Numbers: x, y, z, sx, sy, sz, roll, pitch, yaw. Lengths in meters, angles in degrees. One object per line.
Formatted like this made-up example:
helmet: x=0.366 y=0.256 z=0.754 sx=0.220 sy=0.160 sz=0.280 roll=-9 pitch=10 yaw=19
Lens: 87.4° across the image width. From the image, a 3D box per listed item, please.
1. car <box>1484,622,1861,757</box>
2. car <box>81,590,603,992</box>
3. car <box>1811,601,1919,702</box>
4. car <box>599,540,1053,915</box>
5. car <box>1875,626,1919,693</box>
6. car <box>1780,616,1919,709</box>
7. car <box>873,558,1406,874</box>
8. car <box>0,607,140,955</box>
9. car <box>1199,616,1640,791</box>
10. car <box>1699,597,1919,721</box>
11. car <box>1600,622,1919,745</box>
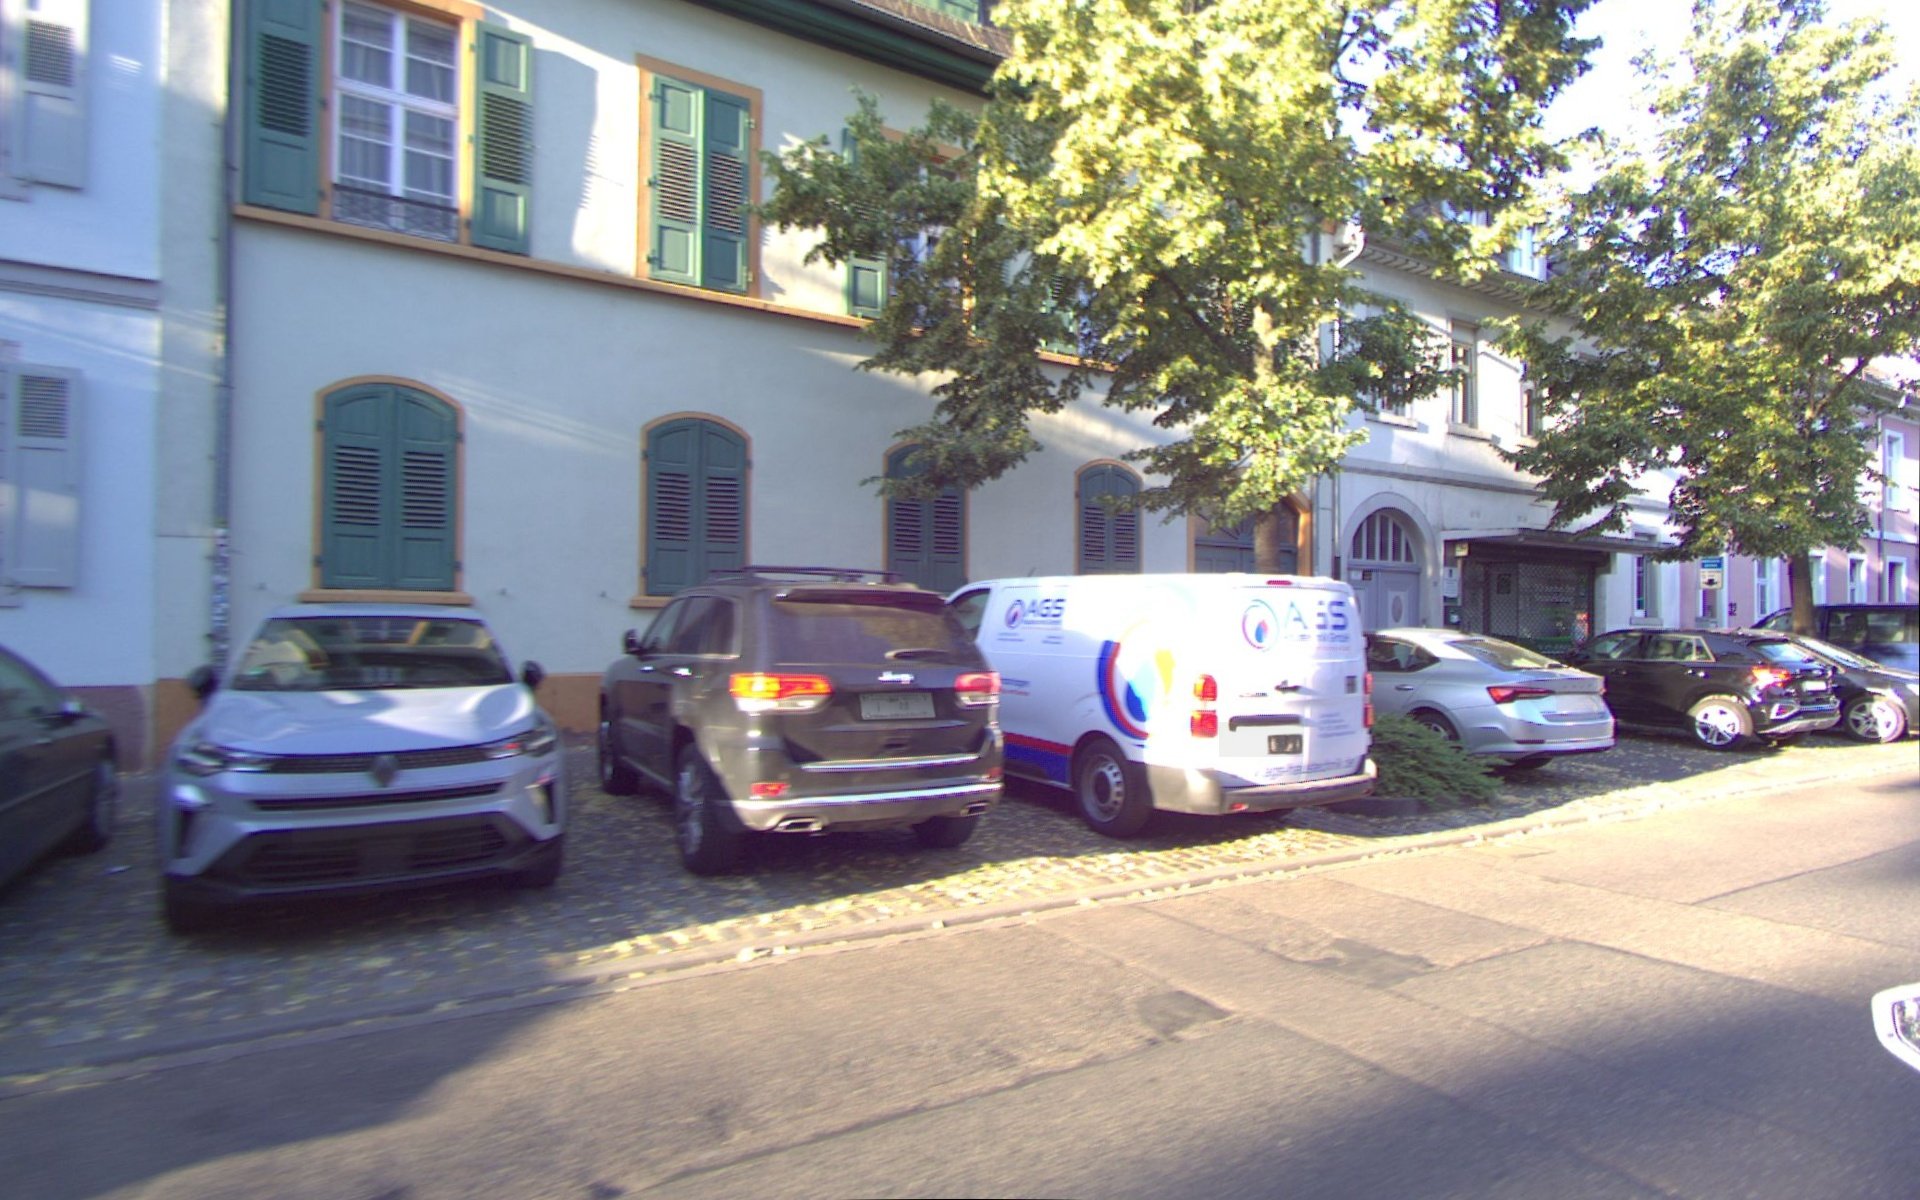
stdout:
car: x=9.764 y=1.109 z=14.104 sx=1.881 sy=1.521 sz=3.908 roll=1 pitch=0 yaw=-27
car: x=-3.508 y=0.791 z=6.199 sx=1.939 sy=1.576 sz=4.022 roll=1 pitch=-1 yaw=-27
car: x=20.317 y=1.053 z=20.244 sx=1.944 sy=2.002 sz=4.459 roll=1 pitch=0 yaw=-32
car: x=-1.326 y=0.686 z=7.482 sx=1.871 sy=1.895 sz=4.409 roll=1 pitch=-1 yaw=-29
car: x=23.164 y=1.370 z=21.762 sx=1.868 sy=1.489 sz=4.577 roll=1 pitch=0 yaw=-27
car: x=18.277 y=1.172 z=18.831 sx=1.838 sy=1.658 sz=4.111 roll=1 pitch=0 yaw=-29
car: x=1.145 y=0.755 z=8.769 sx=1.950 sy=1.933 sz=4.848 roll=1 pitch=-1 yaw=-30
car: x=-5.348 y=0.777 z=4.500 sx=1.940 sy=1.503 sz=4.018 roll=1 pitch=-1 yaw=-30
car: x=4.882 y=0.977 z=11.426 sx=1.712 sy=1.505 sz=4.460 roll=1 pitch=0 yaw=-28
car: x=15.960 y=0.974 z=17.581 sx=2.043 sy=2.002 sz=4.463 roll=1 pitch=-1 yaw=-29
car: x=12.519 y=1.161 z=15.317 sx=1.824 sy=1.521 sz=4.297 roll=1 pitch=0 yaw=-35
